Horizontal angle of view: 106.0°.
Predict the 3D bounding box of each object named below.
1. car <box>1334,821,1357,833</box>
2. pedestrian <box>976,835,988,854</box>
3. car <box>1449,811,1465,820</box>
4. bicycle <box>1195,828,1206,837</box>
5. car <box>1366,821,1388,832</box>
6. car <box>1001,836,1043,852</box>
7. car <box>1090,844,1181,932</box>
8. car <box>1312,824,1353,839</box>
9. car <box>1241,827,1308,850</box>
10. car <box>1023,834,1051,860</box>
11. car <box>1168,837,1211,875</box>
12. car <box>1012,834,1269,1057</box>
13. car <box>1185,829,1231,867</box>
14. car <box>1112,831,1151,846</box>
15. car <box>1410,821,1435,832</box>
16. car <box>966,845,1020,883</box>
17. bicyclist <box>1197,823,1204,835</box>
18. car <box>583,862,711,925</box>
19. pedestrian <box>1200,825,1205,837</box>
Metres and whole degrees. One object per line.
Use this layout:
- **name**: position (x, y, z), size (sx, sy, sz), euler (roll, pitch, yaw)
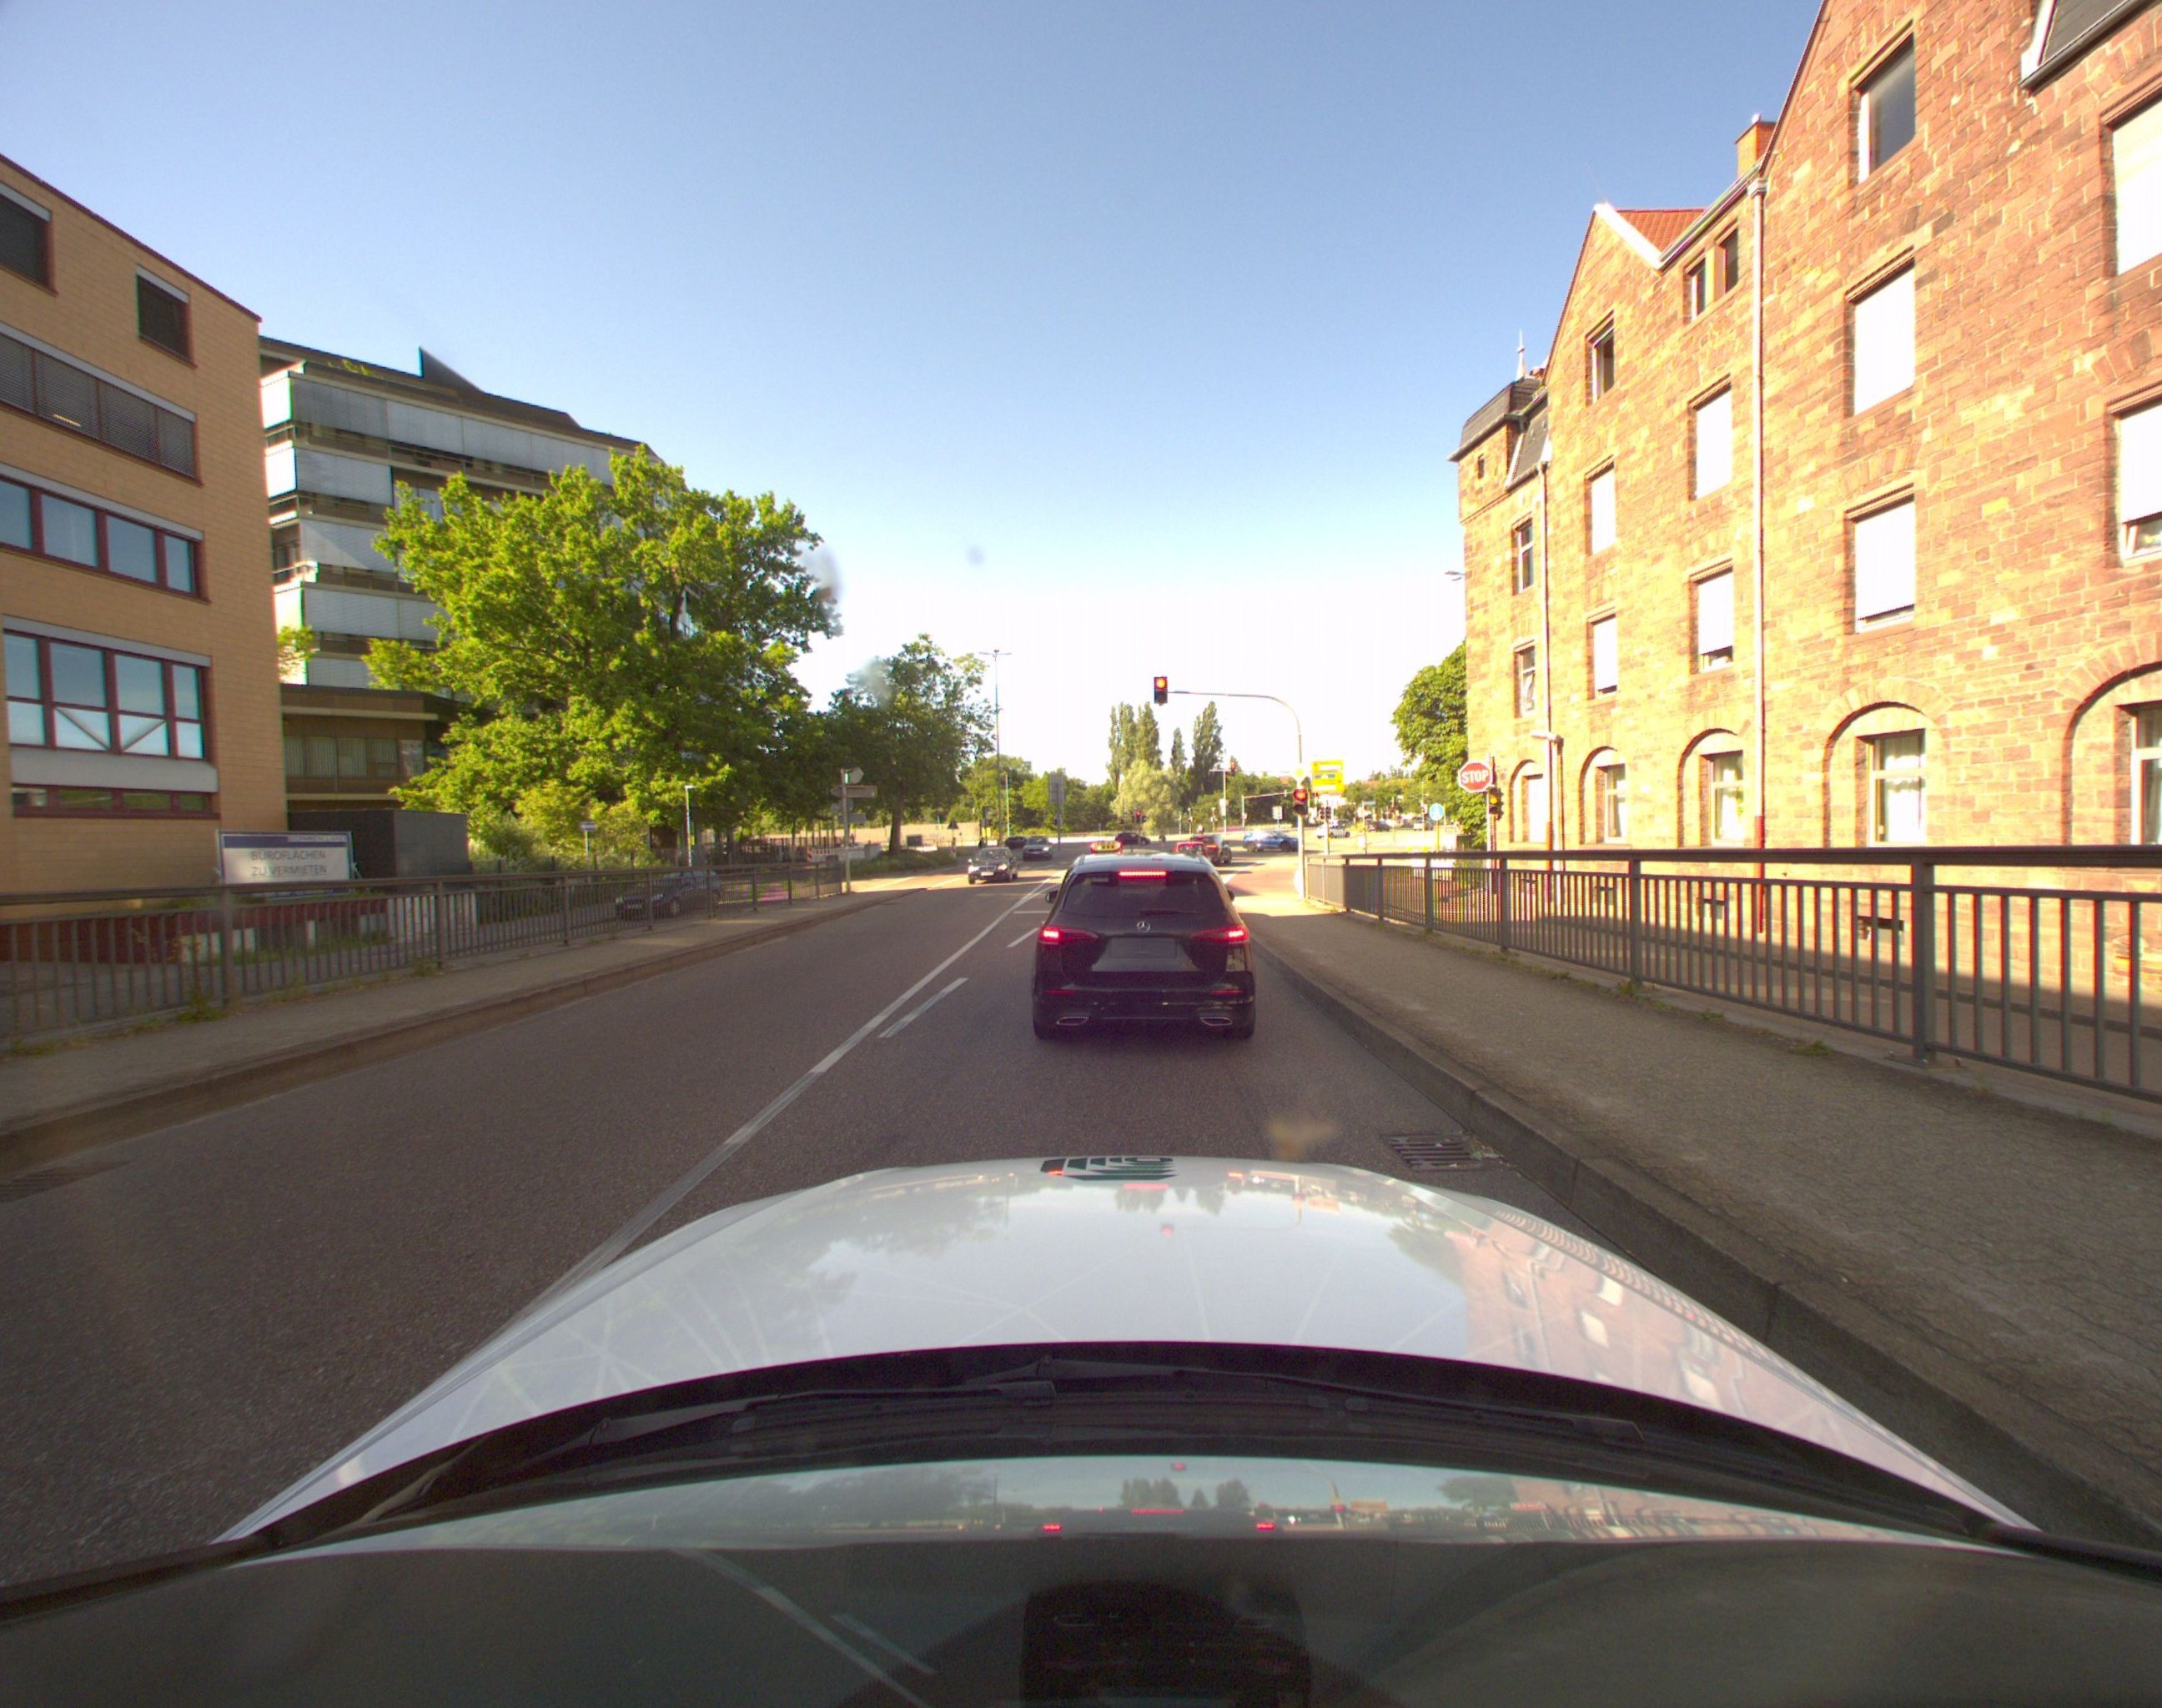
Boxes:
- **car**: position (38.759, -4.004, 119.182), size (1.860, 1.578, 4.026), euler (-1, 2, 38)
- **pedestrian**: position (-8.308, -0.786, 68.391), size (0.700, 1.525, 0.746), euler (-1, 1, 12)
- **car**: position (64.774, -6.667, 140.268), size (1.764, 1.357, 4.105), euler (-1, 3, 36)
- **bicycle**: position (15.289, -2.721, 104.189), size (0.520, 1.050, 2.003), euler (-2, 1, 35)
- **car**: position (38.648, -3.627, 106.279), size (1.862, 1.294, 4.625), euler (-1, 3, 31)
- **car**: position (-5.966, -1.010, 82.963), size (3.968, 1.498, 1.747), euler (-1, 0, 5)
- **car**: position (1.132, 0.609, 16.829), size (1.632, 1.529, 3.478), euler (-2, 1, 4)
- **car**: position (27.124, -2.422, 87.789), size (4.332, 1.365, 1.979), euler (-4, 3, -34)
- **car**: position (14.231, -1.153, 60.081), size (4.346, 1.592, 1.935), euler (0, 3, 38)
- **car**: position (-3.064, -0.509, 55.881), size (1.800, 1.623, 3.995), euler (-1, 2, -4)
- **car**: position (5.041, 0.061, 38.143), size (1.714, 1.521, 3.490), euler (-1, 3, 3)
- **car**: position (0.498, 0.651, 7.950), size (1.871, 1.613, 4.002), euler (0, 0, 2)
- **car**: position (7.069, -0.362, 44.996), size (1.707, 1.811, 4.320), euler (-2, 3, 20)
- **car**: position (5.286, -1.596, 85.362), size (3.974, 1.547, 1.891), euler (0, -1, 0)
- **car**: position (44.920, -3.626, 107.036), size (1.974, 1.294, 4.625), euler (-1, 3, 36)
- **car**: position (-3.660, 0.374, 34.621), size (1.735, 1.407, 4.202), euler (-2, 1, 1)
- **bicyclist**: position (15.276, -3.199, 104.169), size (0.520, 1.551, 0.812), euler (-2, 1, 35)
- **car**: position (-13.957, 1.205, 26.501), size (1.844, 1.692, 4.002), euler (-2, 2, 2)
- **pedestrian**: position (16.335, -3.063, 109.537), size (0.446, 1.585, 0.504), euler (-2, 1, 42)
